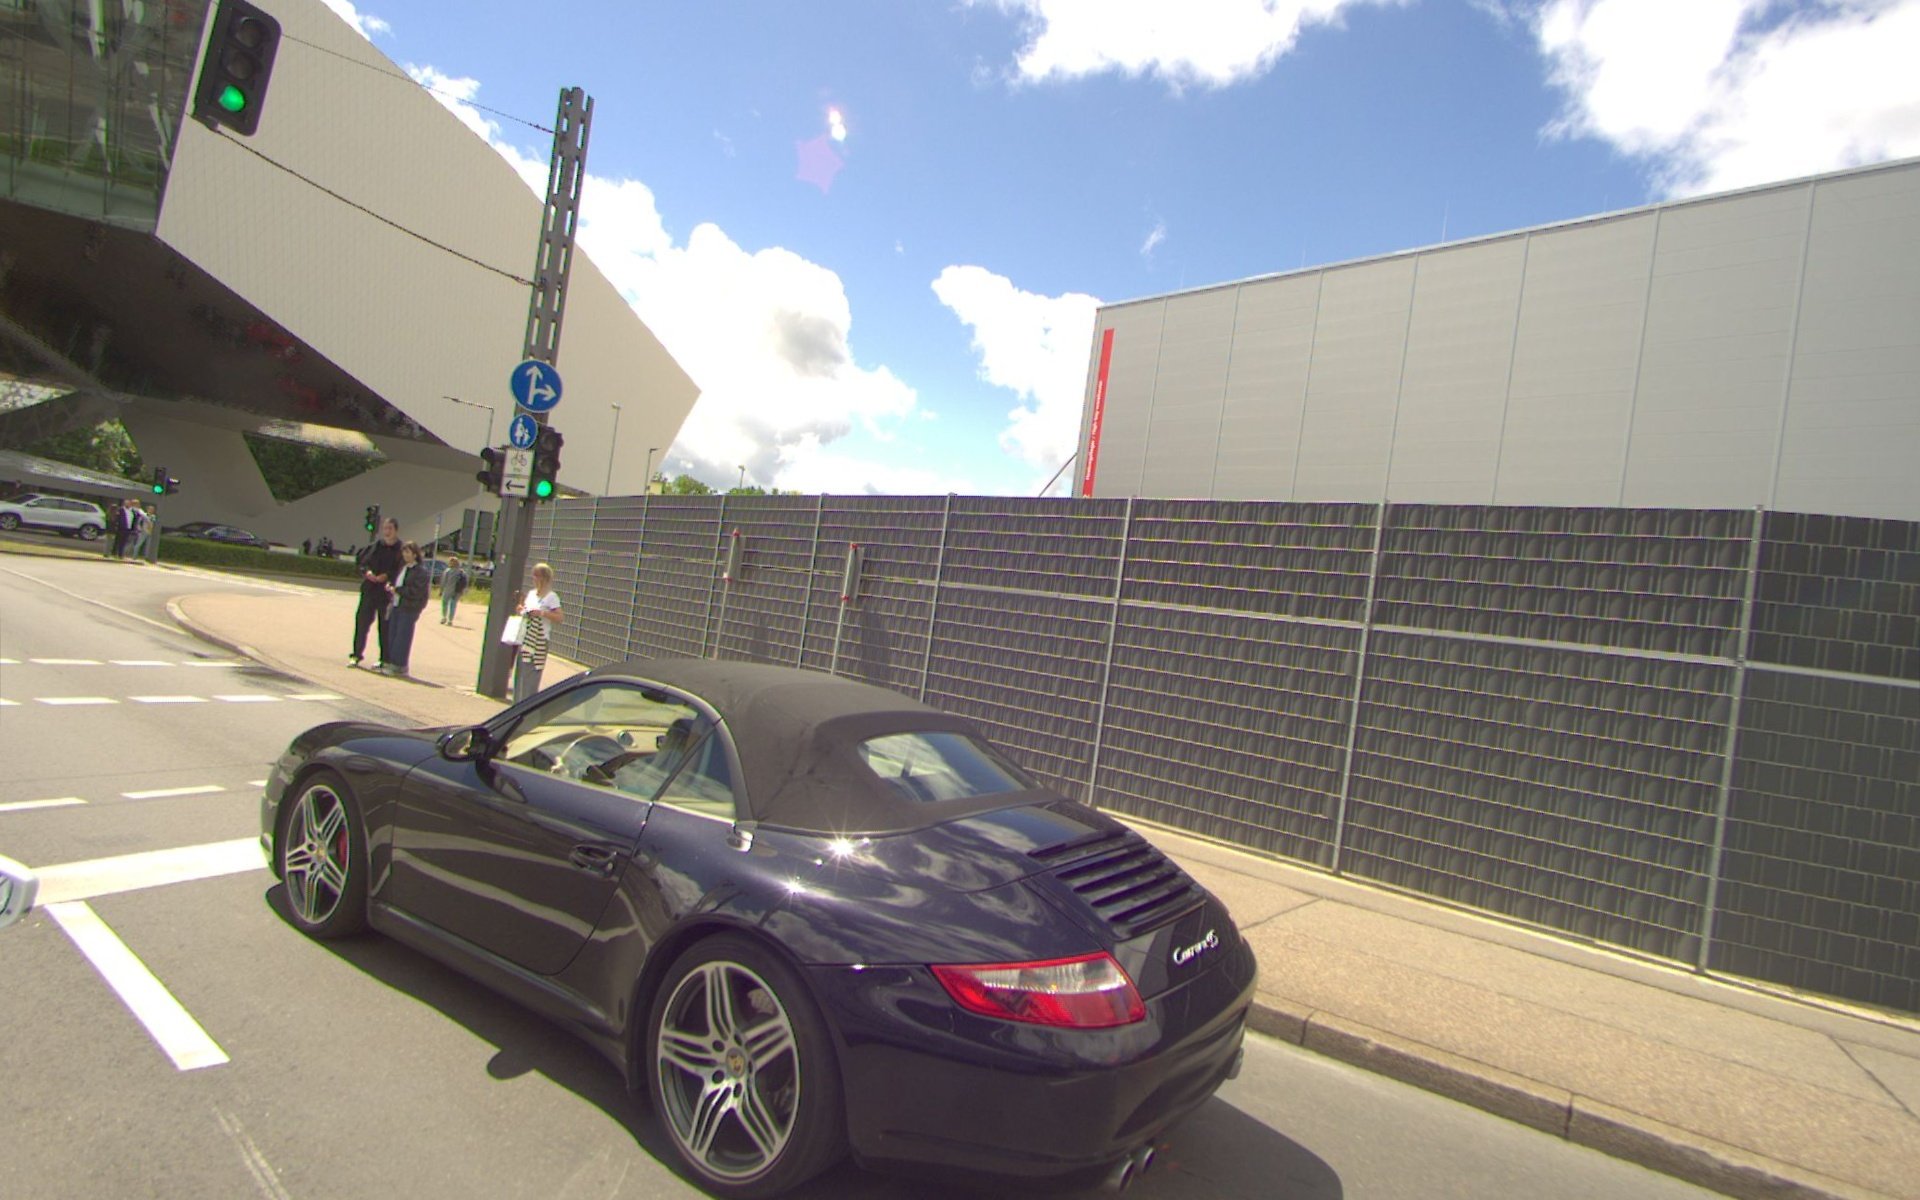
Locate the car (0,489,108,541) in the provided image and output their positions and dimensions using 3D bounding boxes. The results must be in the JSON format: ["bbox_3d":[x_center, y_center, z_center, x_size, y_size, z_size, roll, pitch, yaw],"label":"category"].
[{"bbox_3d":[-36.509,-3.400,39.654,1.805,1.568,3.998,6,-1,24],"label":"car"}]

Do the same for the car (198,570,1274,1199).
[{"bbox_3d":[-1.058,0.879,4.005,3.935,1.340,1.838,8,-2,34],"label":"car"}]

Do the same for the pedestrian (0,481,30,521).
[{"bbox_3d":[-48.470,-5.037,51.383,0.906,1.846,0.832,7,-2,9],"label":"pedestrian"}]

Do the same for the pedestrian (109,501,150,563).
[{"bbox_3d":[-26.052,-2.124,31.554,0.665,1.815,0.616,8,-2,-26],"label":"pedestrian"}]

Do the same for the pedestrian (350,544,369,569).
[{"bbox_3d":[-47.438,-3.430,79.458,0.762,1.758,0.828,7,-2,-1],"label":"pedestrian"}]

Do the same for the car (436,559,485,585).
[{"bbox_3d":[-52.472,-2.949,105.729,4.155,2.036,1.992,8,-3,-21],"label":"car"}]

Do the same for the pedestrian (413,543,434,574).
[{"bbox_3d":[-38.214,-2.976,71.631,0.762,2.036,0.828,7,-2,-1],"label":"pedestrian"}]

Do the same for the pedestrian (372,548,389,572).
[{"bbox_3d":[-46.757,-3.247,81.184,0.763,1.758,0.827,7,-2,-6],"label":"pedestrian"}]

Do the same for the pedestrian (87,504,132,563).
[{"bbox_3d":[-25.851,-2.013,30.590,0.610,1.656,0.672,7,-2,-9],"label":"pedestrian"}]

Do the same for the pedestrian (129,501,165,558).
[{"bbox_3d":[-26.743,-2.305,33.083,0.600,1.779,0.616,8,-2,-26],"label":"pedestrian"}]

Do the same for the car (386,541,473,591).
[{"bbox_3d":[-24.323,-1.506,46.270,1.965,1.721,4.001,7,-3,-5],"label":"car"}]

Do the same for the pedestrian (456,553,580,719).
[{"bbox_3d":[-4.647,0.388,10.600,0.809,1.626,0.661,6,-2,29],"label":"pedestrian"}]

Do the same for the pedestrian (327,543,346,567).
[{"bbox_3d":[-50.481,-3.668,81.472,0.762,1.758,0.828,7,-2,-1],"label":"pedestrian"}]

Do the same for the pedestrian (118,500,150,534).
[{"bbox_3d":[-45.735,-4.585,55.707,0.906,1.695,0.832,7,-2,9],"label":"pedestrian"}]

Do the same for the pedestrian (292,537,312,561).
[{"bbox_3d":[-51.527,-4.000,78.814,0.762,1.758,0.828,7,-2,2],"label":"pedestrian"}]

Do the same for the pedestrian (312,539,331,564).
[{"bbox_3d":[-50.165,-3.807,79.081,0.762,1.758,0.828,7,-2,-1],"label":"pedestrian"}]

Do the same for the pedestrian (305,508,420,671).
[{"bbox_3d":[-7.424,-0.111,12.533,0.778,1.887,0.662,7,-2,4],"label":"pedestrian"}]

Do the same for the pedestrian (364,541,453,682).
[{"bbox_3d":[-6.765,0.143,12.355,0.651,1.634,0.465,6,-2,20],"label":"pedestrian"}]

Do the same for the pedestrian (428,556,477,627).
[{"bbox_3d":[-12.170,-0.210,24.125,0.691,1.604,0.911,9,-2,-40],"label":"pedestrian"}]

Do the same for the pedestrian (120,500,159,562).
[{"bbox_3d":[-26.269,-2.186,32.211,0.665,1.867,0.616,8,-2,-28],"label":"pedestrian"}]

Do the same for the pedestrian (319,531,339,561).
[{"bbox_3d":[-46.827,-4.016,74.655,0.762,2.036,0.828,7,-2,-1],"label":"pedestrian"}]

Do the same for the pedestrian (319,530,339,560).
[{"bbox_3d":[-47.468,-4.126,75.692,0.762,2.036,0.828,7,-2,-1],"label":"pedestrian"}]

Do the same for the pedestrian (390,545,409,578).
[{"bbox_3d":[-36.439,-2.512,65.364,0.770,2.036,0.820,8,-2,-34],"label":"pedestrian"}]
